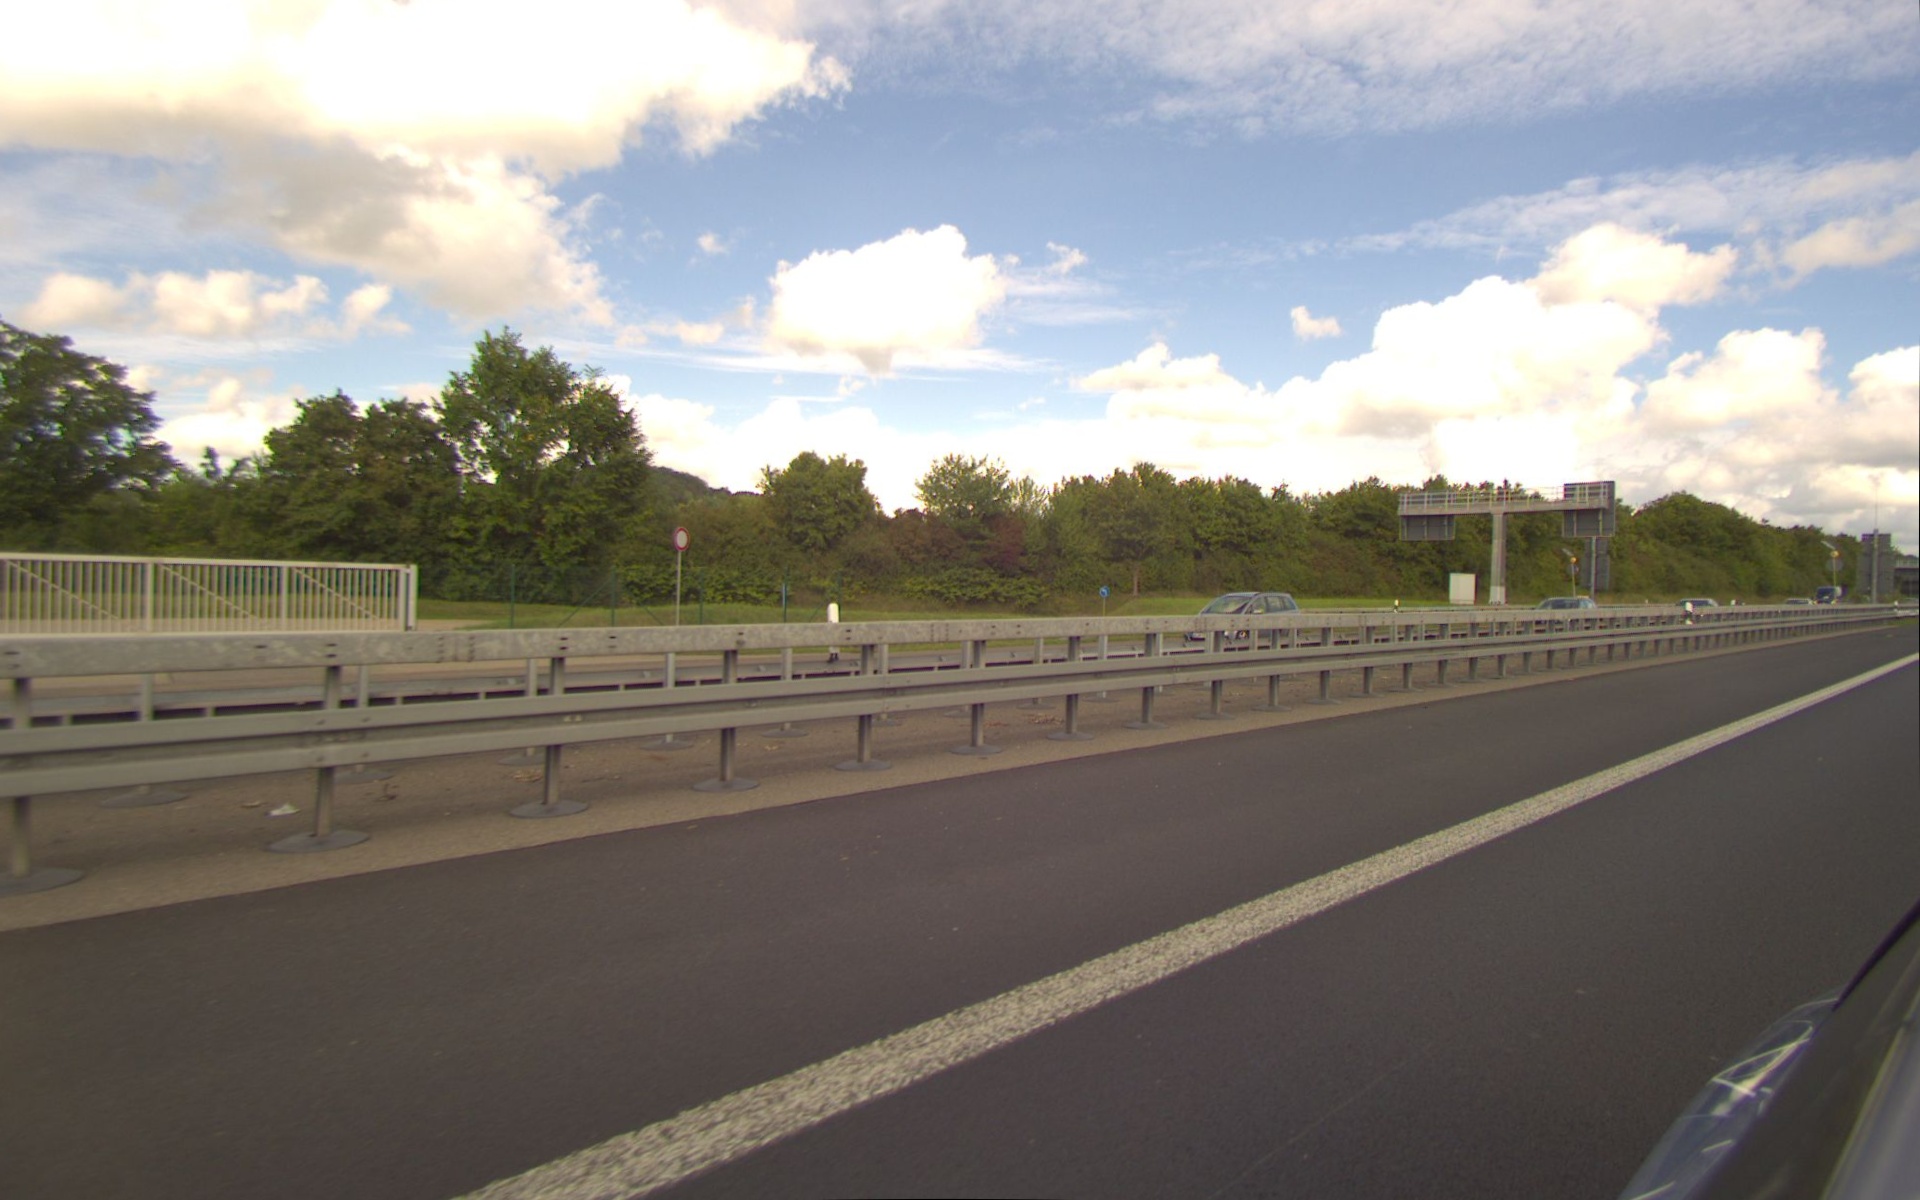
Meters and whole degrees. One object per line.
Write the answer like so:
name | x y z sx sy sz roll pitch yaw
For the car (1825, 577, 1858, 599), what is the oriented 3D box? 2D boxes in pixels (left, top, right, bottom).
car | 91.277 -1.286 104.738 5.041 2.213 1.996 -1 2 -43

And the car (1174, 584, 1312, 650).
car | 8.230 0.430 29.314 3.931 1.729 1.997 0 3 -42

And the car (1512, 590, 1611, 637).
car | 21.350 0.433 35.878 3.932 1.503 1.996 -1 2 -43
